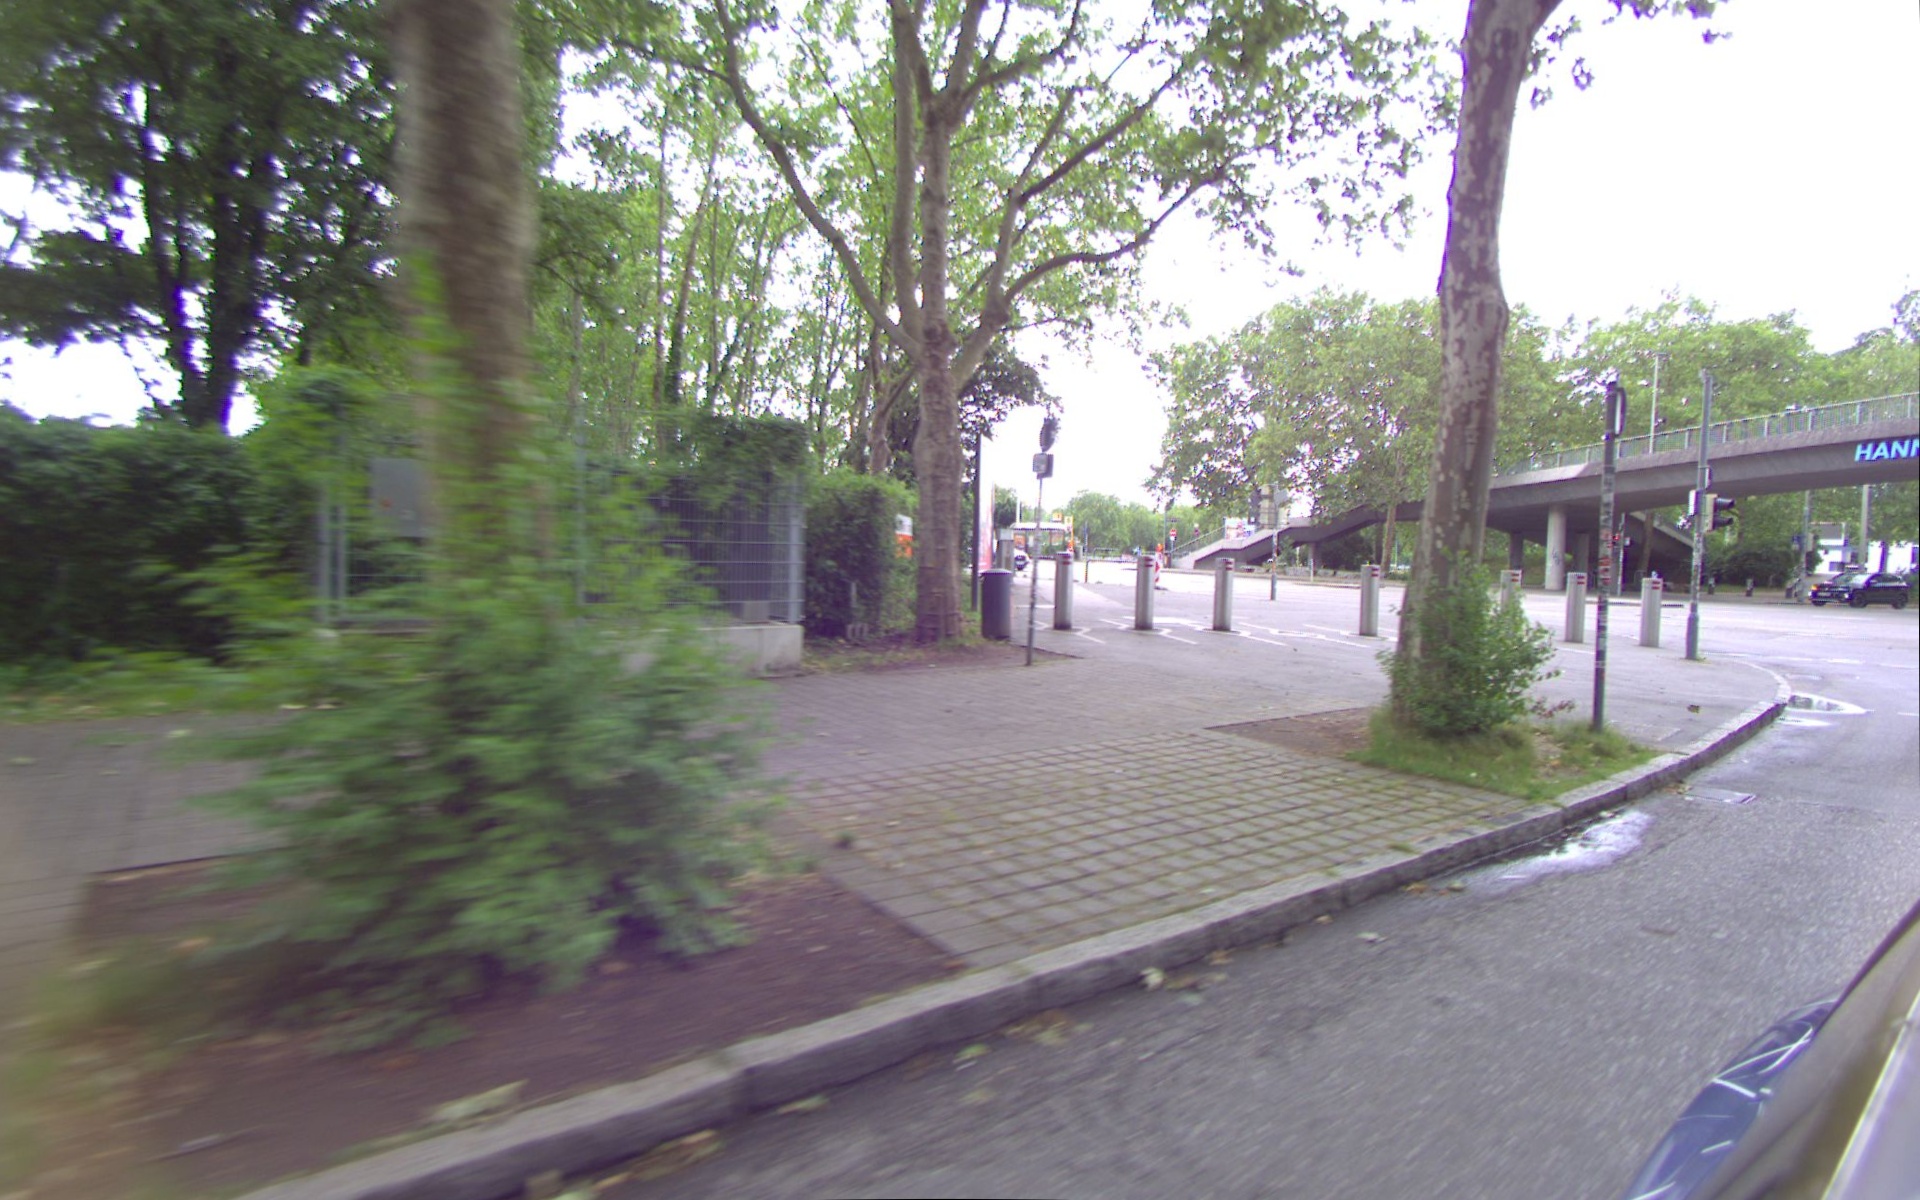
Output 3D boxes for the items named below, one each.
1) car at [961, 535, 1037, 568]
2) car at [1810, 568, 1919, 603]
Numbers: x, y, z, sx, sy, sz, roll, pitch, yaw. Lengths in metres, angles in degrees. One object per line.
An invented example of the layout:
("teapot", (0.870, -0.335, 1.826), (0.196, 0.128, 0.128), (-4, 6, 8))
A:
("car", (1.961, -2.517, 51.912), (1.766, 1.528, 4.002), (0, 4, -35))
("car", (39.014, -0.637, 43.270), (3.650, 1.336, 1.763), (1, 4, 5))
